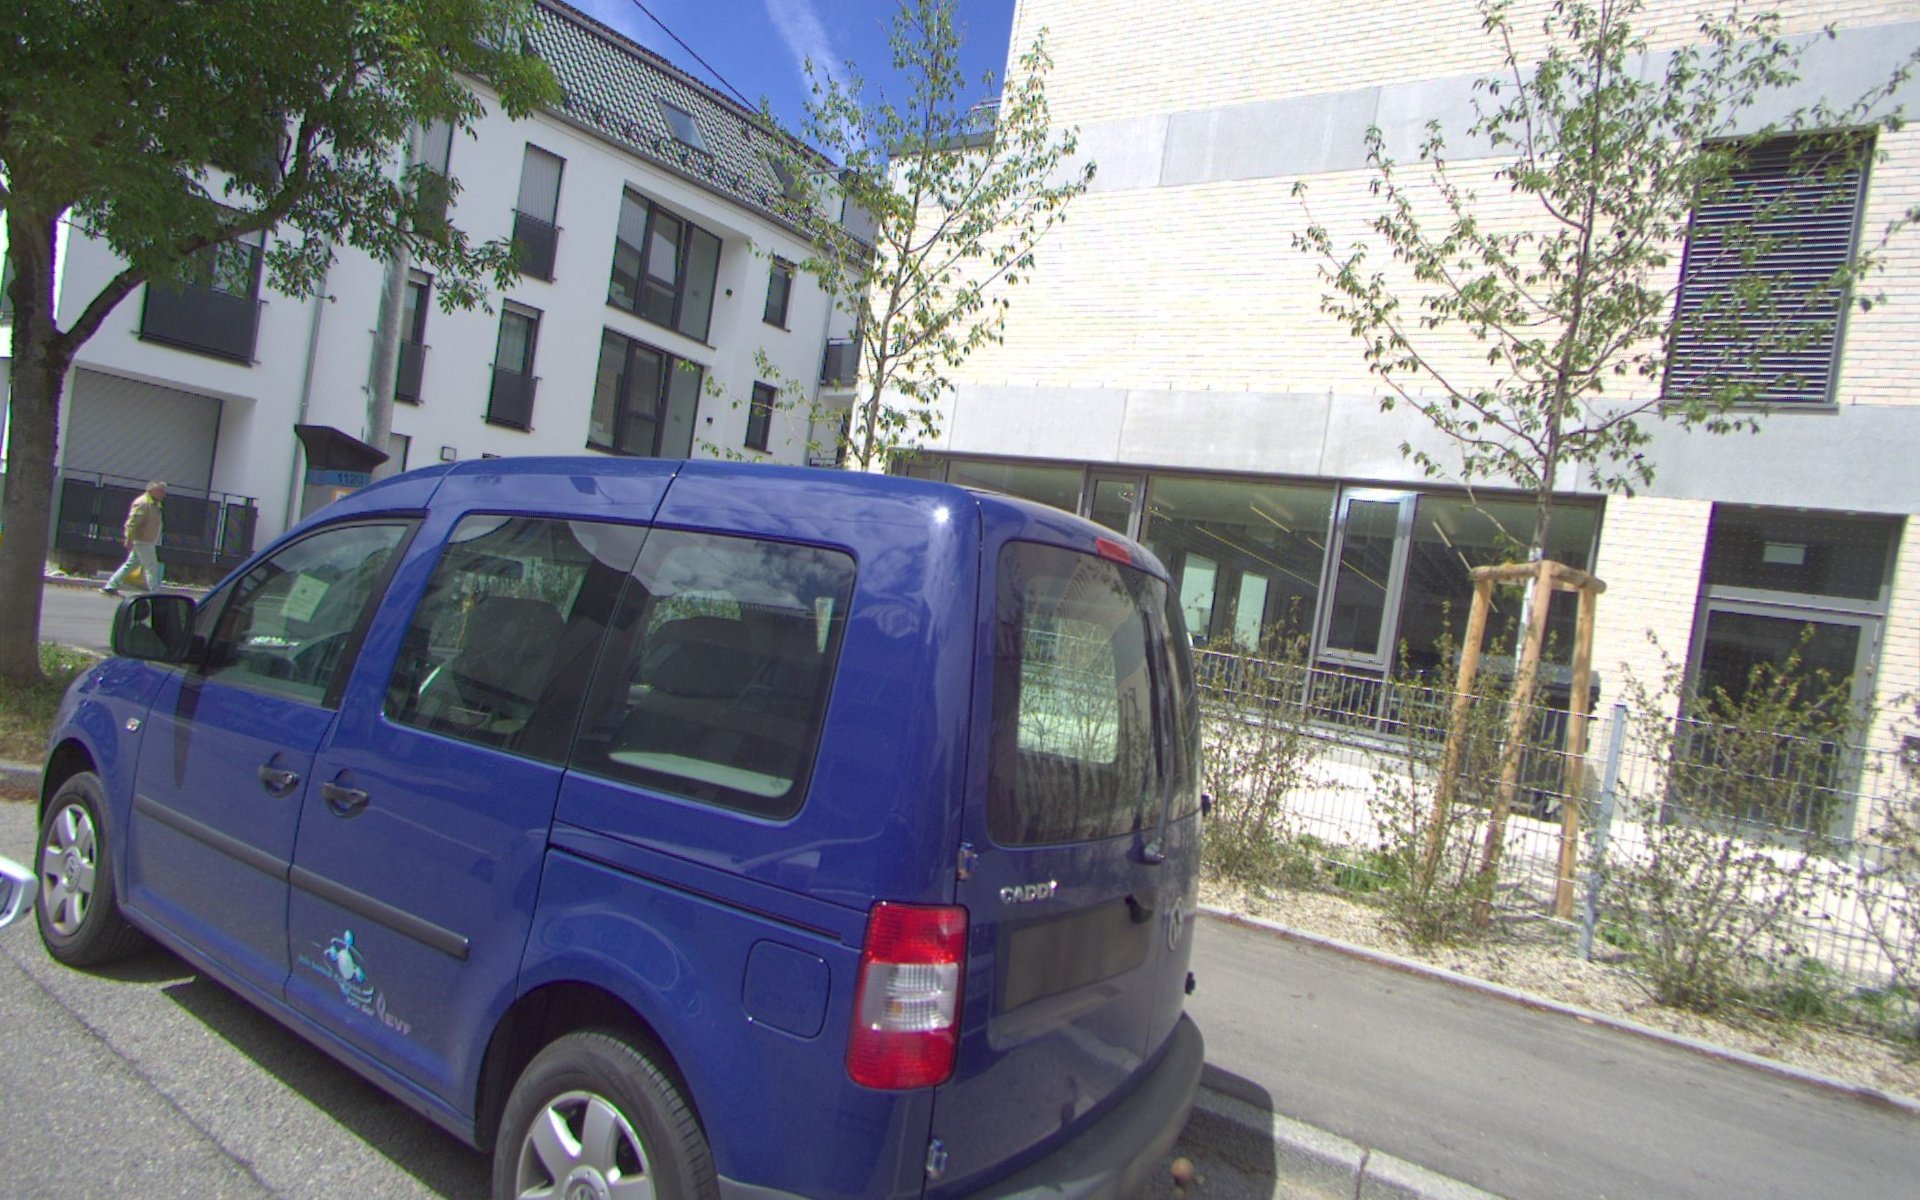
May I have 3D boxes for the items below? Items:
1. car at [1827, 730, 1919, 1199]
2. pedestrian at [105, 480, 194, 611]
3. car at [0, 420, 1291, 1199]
[{"bbox_3d":[3.344,1.165,0.367,4.292,1.526,1.790,6,-2,32],"label":"car"},{"bbox_3d":[-11.056,-0.731,13.748,0.607,1.668,0.735,7,1,-20],"label":"pedestrian"},{"bbox_3d":[-1.498,0.533,3.282,4.440,1.788,1.848,6,-2,32],"label":"car"}]
